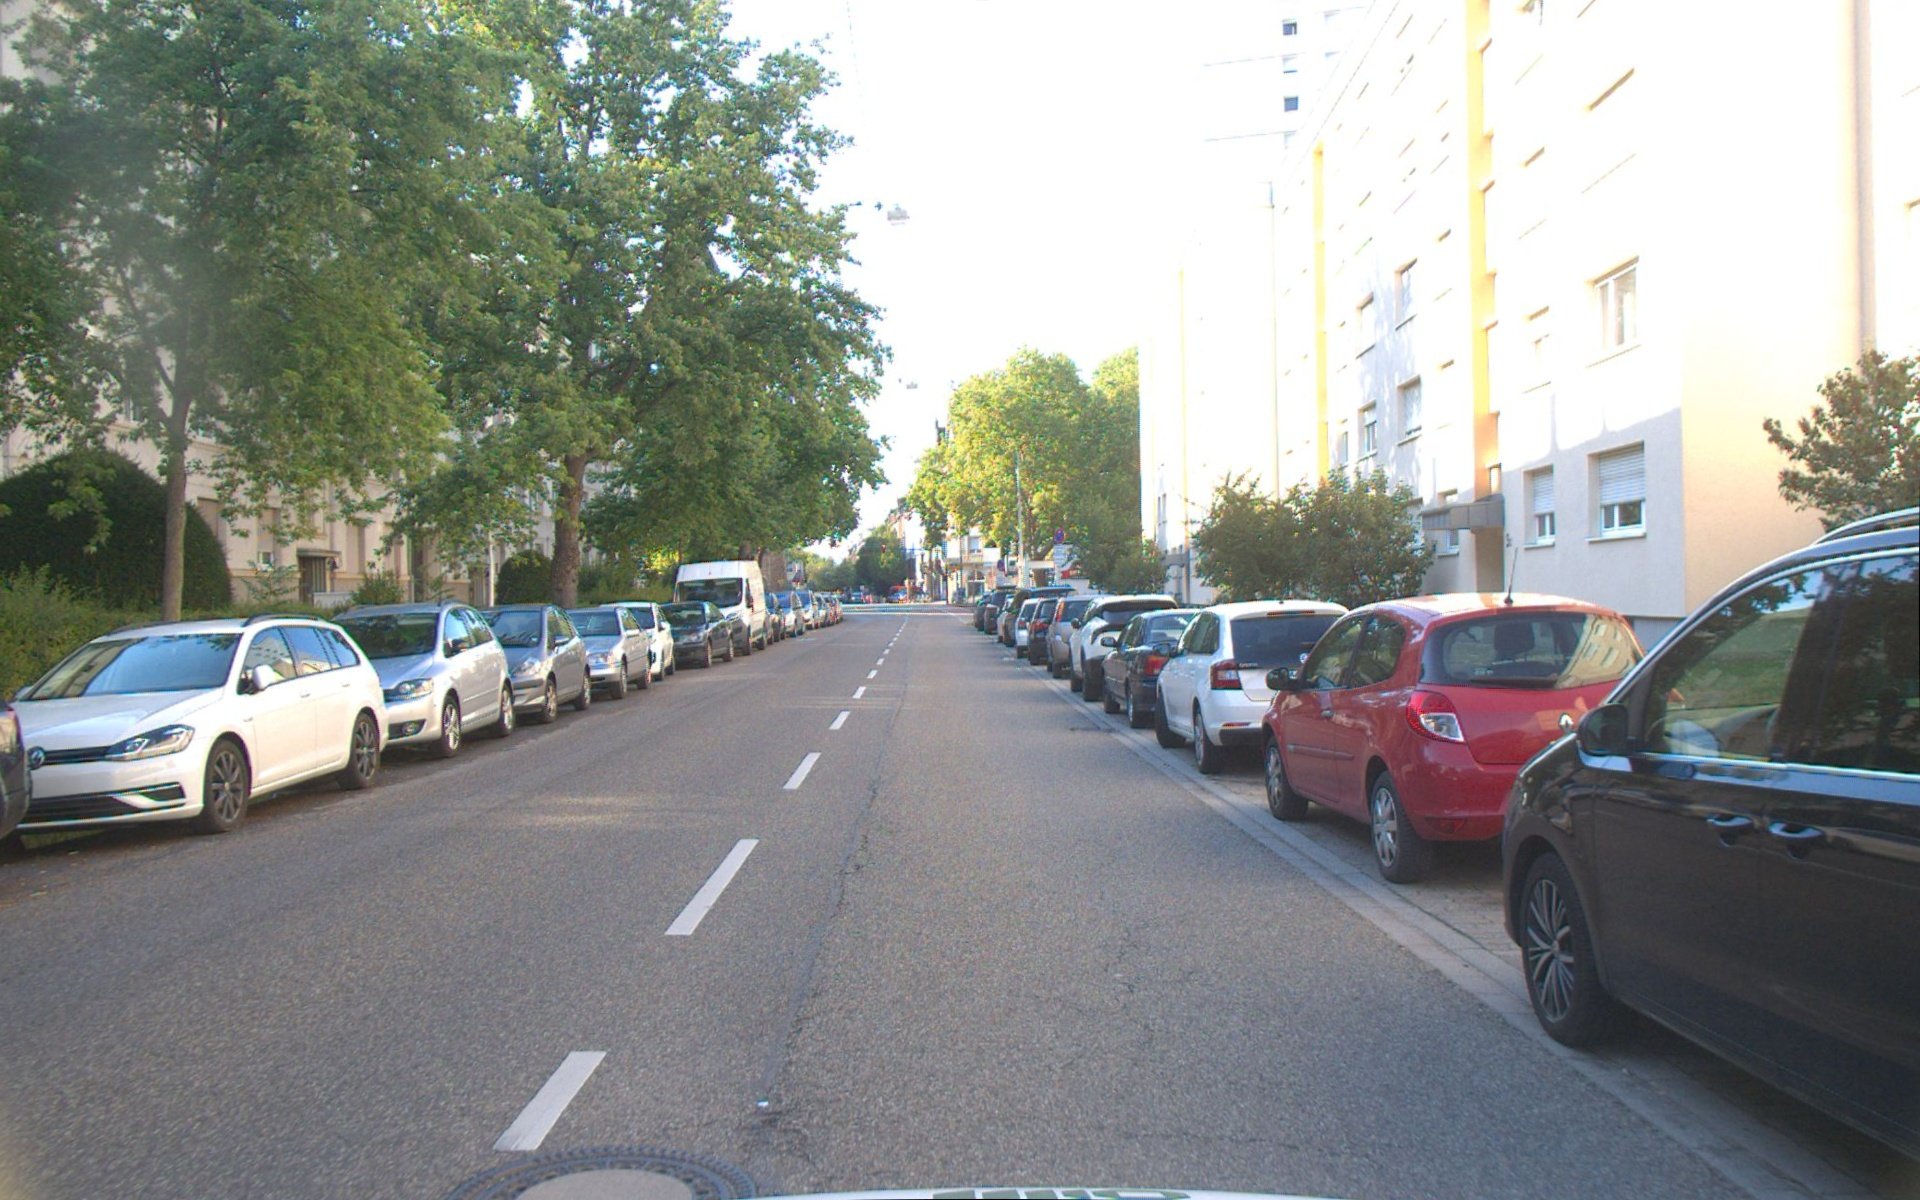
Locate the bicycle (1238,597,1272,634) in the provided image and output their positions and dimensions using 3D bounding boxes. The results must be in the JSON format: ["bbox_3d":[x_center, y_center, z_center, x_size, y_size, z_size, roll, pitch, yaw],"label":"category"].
[{"bbox_3d":[9.480,0.488,53.259,0.588,1.100,2.393,-2,2,-1],"label":"bicycle"}]

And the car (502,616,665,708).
[{"bbox_3d":[-6.093,0.965,27.294,1.836,1.379,4.650,0,-1,-3],"label":"car"}]

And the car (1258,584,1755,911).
[{"bbox_3d":[3.124,0.765,10.352,1.735,1.645,3.999,0,-1,-1],"label":"car"}]

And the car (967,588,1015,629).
[{"bbox_3d":[1.316,0.370,71.481,1.888,1.688,4.676,0,-1,-1],"label":"car"}]

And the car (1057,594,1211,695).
[{"bbox_3d":[2.663,0.675,26.167,1.836,1.468,3.997,0,-1,-3],"label":"car"}]

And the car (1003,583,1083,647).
[{"bbox_3d":[2.359,0.436,48.125,1.983,1.780,4.765,0,-1,-1],"label":"car"}]

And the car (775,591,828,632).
[{"bbox_3d":[-6.406,0.479,67.115,1.833,1.586,4.099,0,-1,-1],"label":"car"}]

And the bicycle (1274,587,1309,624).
[{"bbox_3d":[10.703,0.171,53.477,0.588,1.100,2.393,-2,2,-1],"label":"bicycle"}]

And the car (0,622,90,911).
[{"bbox_3d":[-5.746,0.899,6.864,1.836,1.459,4.801,-4,0,-3],"label":"car"}]

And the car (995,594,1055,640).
[{"bbox_3d":[2.054,0.553,53.606,1.645,1.440,4.722,0,-1,-1],"label":"car"}]

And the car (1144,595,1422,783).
[{"bbox_3d":[2.909,0.759,15.759,1.736,1.479,3.999,-3,-1,-1],"label":"car"}]

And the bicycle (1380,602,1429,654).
[{"bbox_3d":[10.258,0.629,38.237,0.483,1.132,2.395,-5,0,2],"label":"bicycle"}]

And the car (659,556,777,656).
[{"bbox_3d":[-6.381,0.184,44.339,2.310,2.488,6.163,0,-1,-1],"label":"car"}]

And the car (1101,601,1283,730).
[{"bbox_3d":[2.829,0.766,21.031,1.627,1.463,4.311,0,-1,-1],"label":"car"}]

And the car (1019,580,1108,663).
[{"bbox_3d":[2.331,0.499,38.154,1.799,1.803,3.978,0,-1,0],"label":"car"}]

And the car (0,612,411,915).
[{"bbox_3d":[-5.846,1.019,12.341,1.963,1.578,4.473,0,3,0],"label":"car"}]

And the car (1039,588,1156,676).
[{"bbox_3d":[2.681,0.627,33.216,1.922,1.633,4.278,0,-1,-1],"label":"car"}]

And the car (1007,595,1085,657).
[{"bbox_3d":[2.185,0.662,42.808,1.799,1.528,4.172,0,-1,0],"label":"car"}]

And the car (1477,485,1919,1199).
[{"bbox_3d":[2.964,0.584,4.188,1.736,1.707,4.645,-2,-1,-1],"label":"car"}]

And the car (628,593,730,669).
[{"bbox_3d":[-6.276,0.684,37.288,1.672,1.601,3.818,0,-1,-1],"label":"car"}]

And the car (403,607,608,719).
[{"bbox_3d":[-6.029,0.802,22.425,1.836,1.379,3.997,0,-1,-3],"label":"car"}]

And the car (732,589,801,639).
[{"bbox_3d":[-6.297,0.465,54.285,1.833,1.586,4.364,0,-1,-1],"label":"car"}]

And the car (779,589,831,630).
[{"bbox_3d":[-6.709,0.440,72.075,1.877,1.707,4.972,0,-1,-1],"label":"car"}]

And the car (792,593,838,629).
[{"bbox_3d":[-6.726,0.523,77.041,1.833,1.586,4.495,0,-1,-1],"label":"car"}]

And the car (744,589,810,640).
[{"bbox_3d":[-6.671,0.479,60.641,1.834,1.585,5.055,-6,1,-1],"label":"car"}]

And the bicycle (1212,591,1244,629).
[{"bbox_3d":[8.619,0.309,53.270,0.588,1.100,2.393,-2,2,-1],"label":"bicycle"}]

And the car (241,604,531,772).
[{"bbox_3d":[-5.922,0.850,17.584,1.836,1.579,3.997,0,-1,-3],"label":"car"}]

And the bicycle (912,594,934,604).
[{"bbox_3d":[-4.653,-0.092,209.832,2.750,1.225,0.509,0,-1,-8],"label":"bicycle"}]

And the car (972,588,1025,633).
[{"bbox_3d":[1.486,0.383,65.660,1.859,1.680,4.341,-2,0,-2],"label":"car"}]

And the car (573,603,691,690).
[{"bbox_3d":[-6.325,0.872,32.175,1.672,1.601,3.260,0,-1,-1],"label":"car"}]
